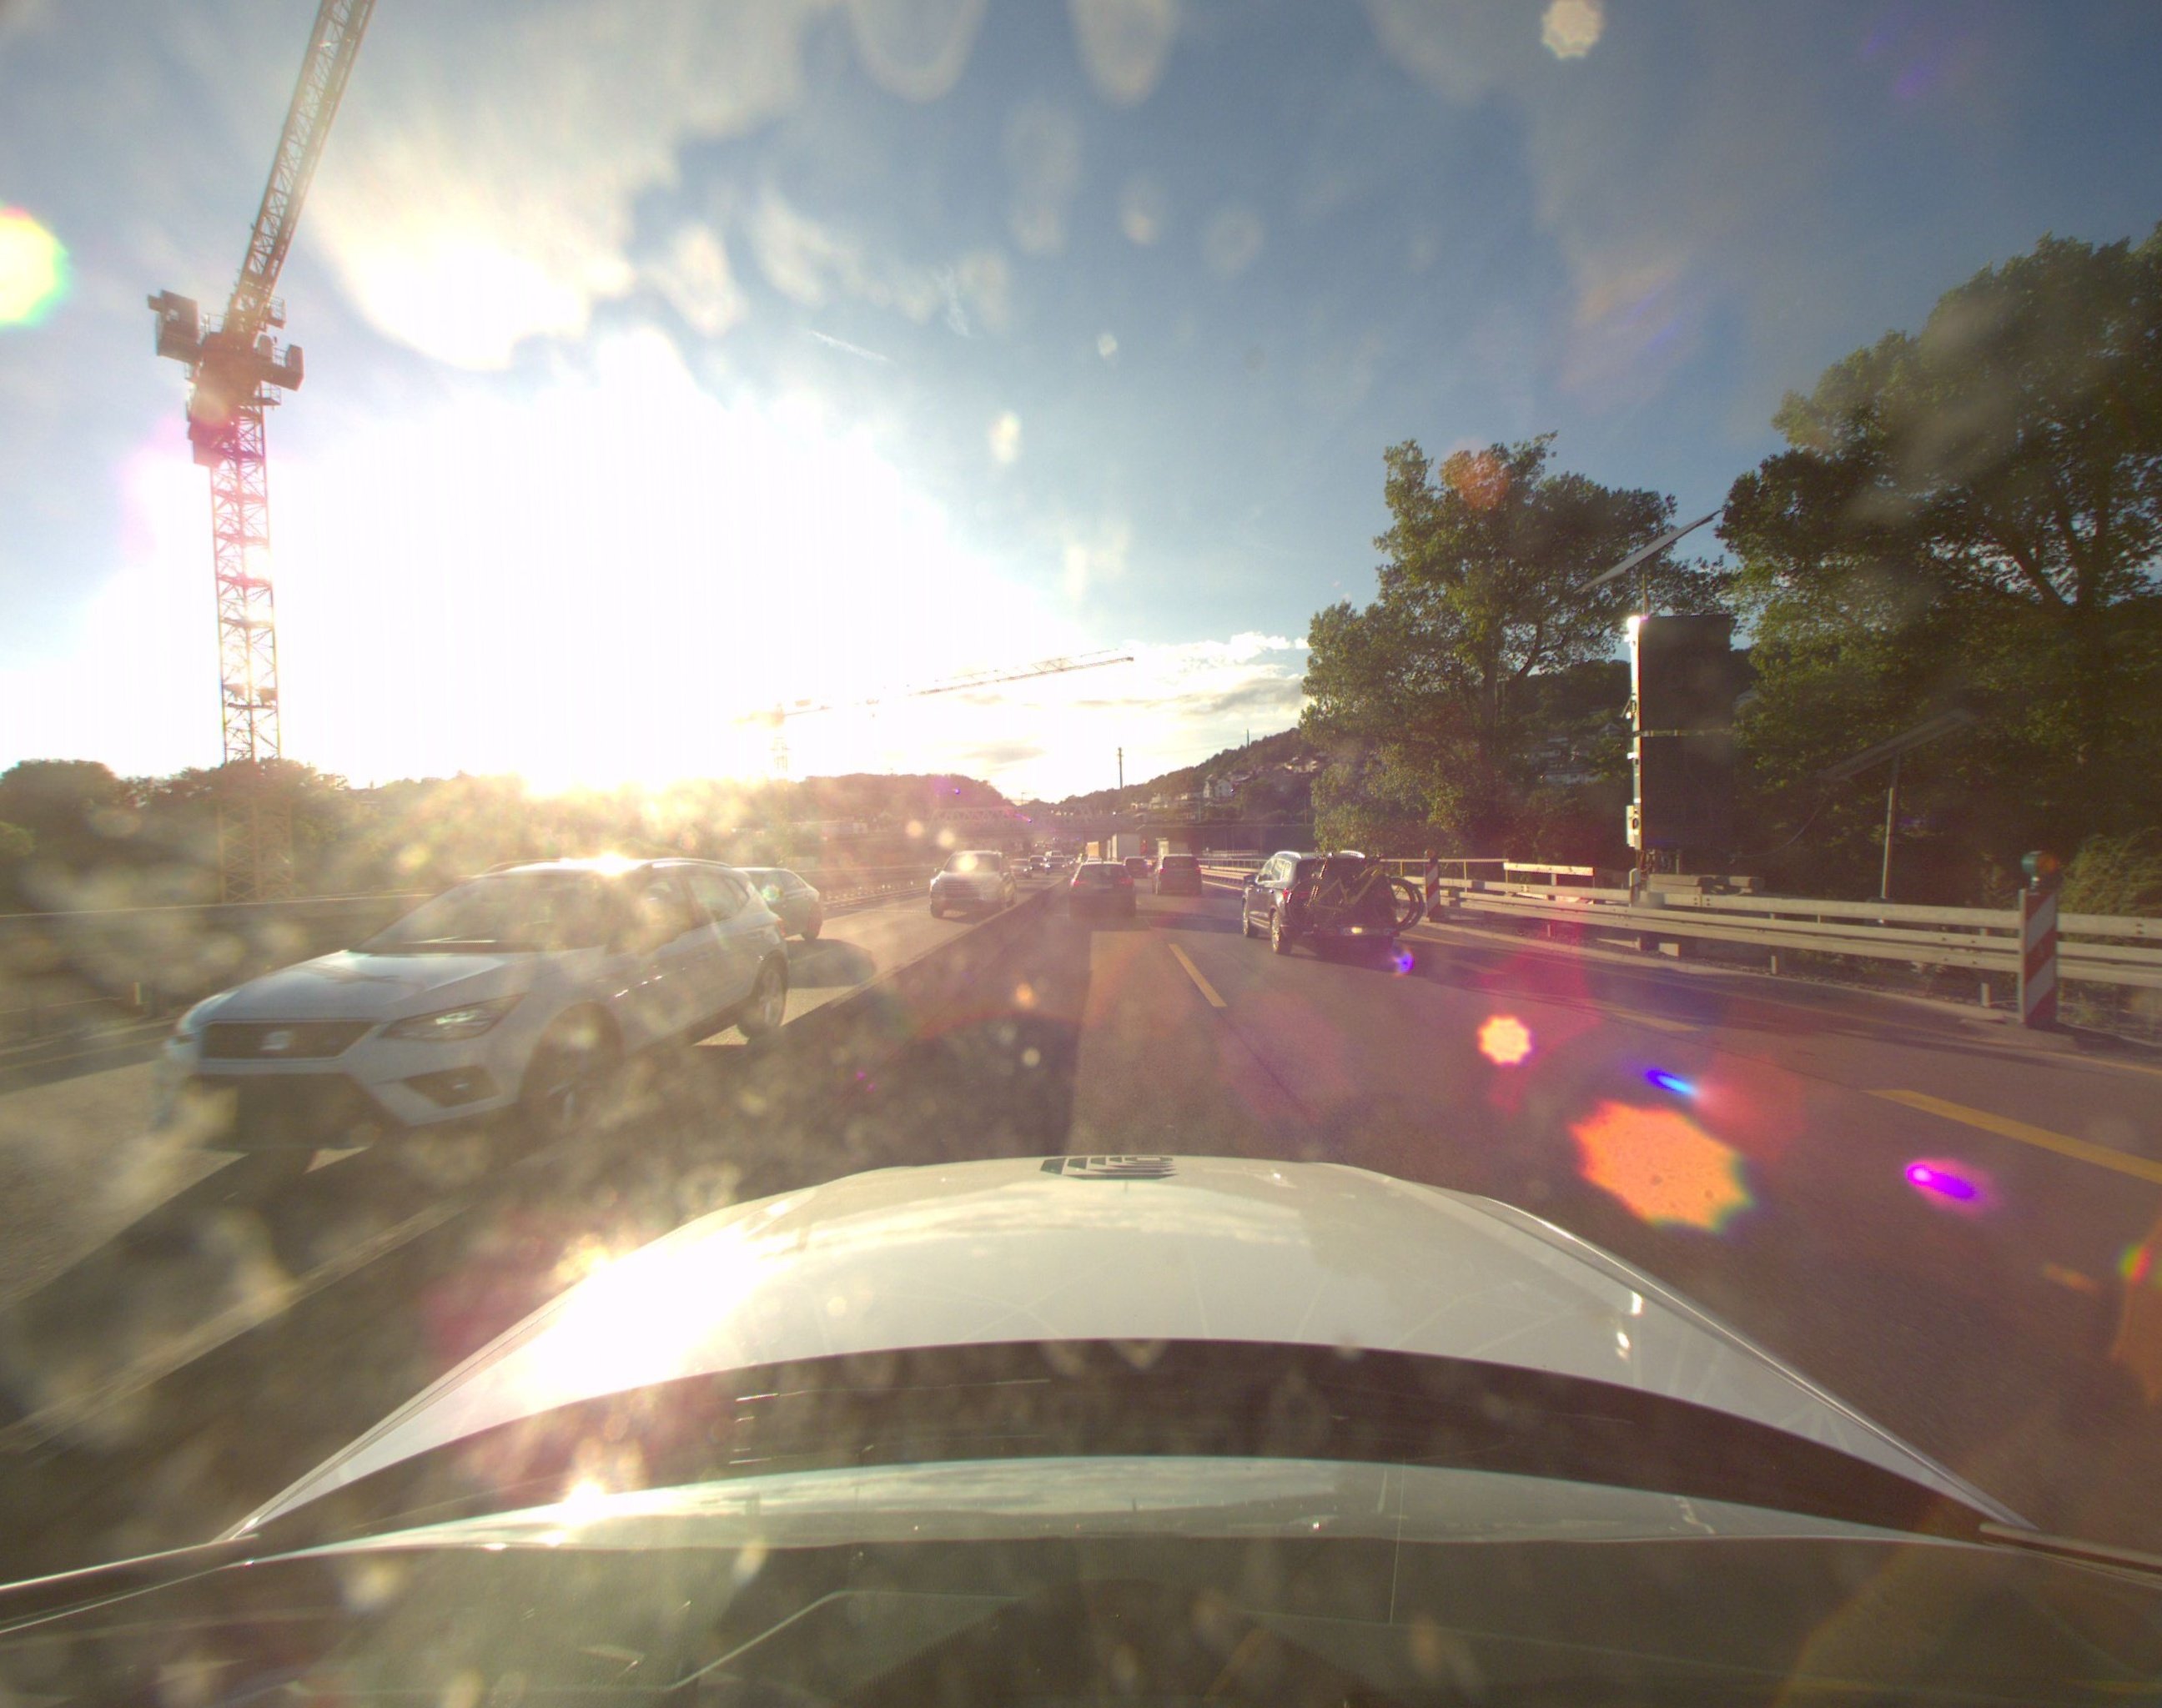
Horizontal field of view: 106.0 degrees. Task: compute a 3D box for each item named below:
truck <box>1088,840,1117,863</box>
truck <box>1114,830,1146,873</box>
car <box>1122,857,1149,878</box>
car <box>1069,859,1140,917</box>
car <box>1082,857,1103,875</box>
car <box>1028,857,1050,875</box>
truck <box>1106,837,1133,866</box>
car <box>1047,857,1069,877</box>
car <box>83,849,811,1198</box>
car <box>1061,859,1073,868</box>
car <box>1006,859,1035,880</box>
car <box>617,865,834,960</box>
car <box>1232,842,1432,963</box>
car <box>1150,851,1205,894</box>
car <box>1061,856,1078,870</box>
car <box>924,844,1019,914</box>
[{"bbox_3d":[4.389,-0.637,170.964,3.888,4.498,13.812,0,1,-8],"label":"truck"},{"bbox_3d":[5.426,-0.488,92.470,3.372,4.497,15.278,0,2,2],"label":"truck"},{"bbox_3d":[4.155,0.992,62.216,1.764,1.552,3.999,0,0,0],"label":"car"},{"bbox_3d":[0.585,0.852,22.290,1.764,1.390,3.999,0,0,0],"label":"car"},{"bbox_3d":[0.964,1.018,70.519,1.760,1.486,3.998,0,0,-1],"label":"car"},{"bbox_3d":[-4.552,1.335,89.018,1.986,1.856,4.285,2,0,2],"label":"car"},{"bbox_3d":[6.136,-0.512,132.617,3.876,4.498,15.272,0,1,1],"label":"truck"},{"bbox_3d":[-2.162,1.171,76.294,1.923,1.754,4.671,2,0,-1],"label":"car"},{"bbox_3d":[-3.464,0.735,5.597,1.798,1.511,4.001,-1,0,1],"label":"car"},{"bbox_3d":[-2.725,1.755,154.912,1.989,1.530,5.774,-1,0,-3],"label":"car"},{"bbox_3d":[-4.798,1.221,65.152,1.922,1.546,4.290,0,0,1],"label":"car"},{"bbox_3d":[-6.049,0.914,14.540,1.767,1.382,4.533,-2,-1,1],"label":"car"},{"bbox_3d":[3.850,0.663,13.483,1.868,1.599,4.967,-1,0,1],"label":"car"},{"bbox_3d":[3.936,0.714,33.850,1.808,1.632,4.411,-1,0,1],"label":"car"},{"bbox_3d":[-1.436,1.096,100.493,1.834,1.640,3.996,-2,0,-2],"label":"car"},{"bbox_3d":[-2.988,0.651,23.221,1.987,1.758,4.661,-1,0,1],"label":"car"}]
